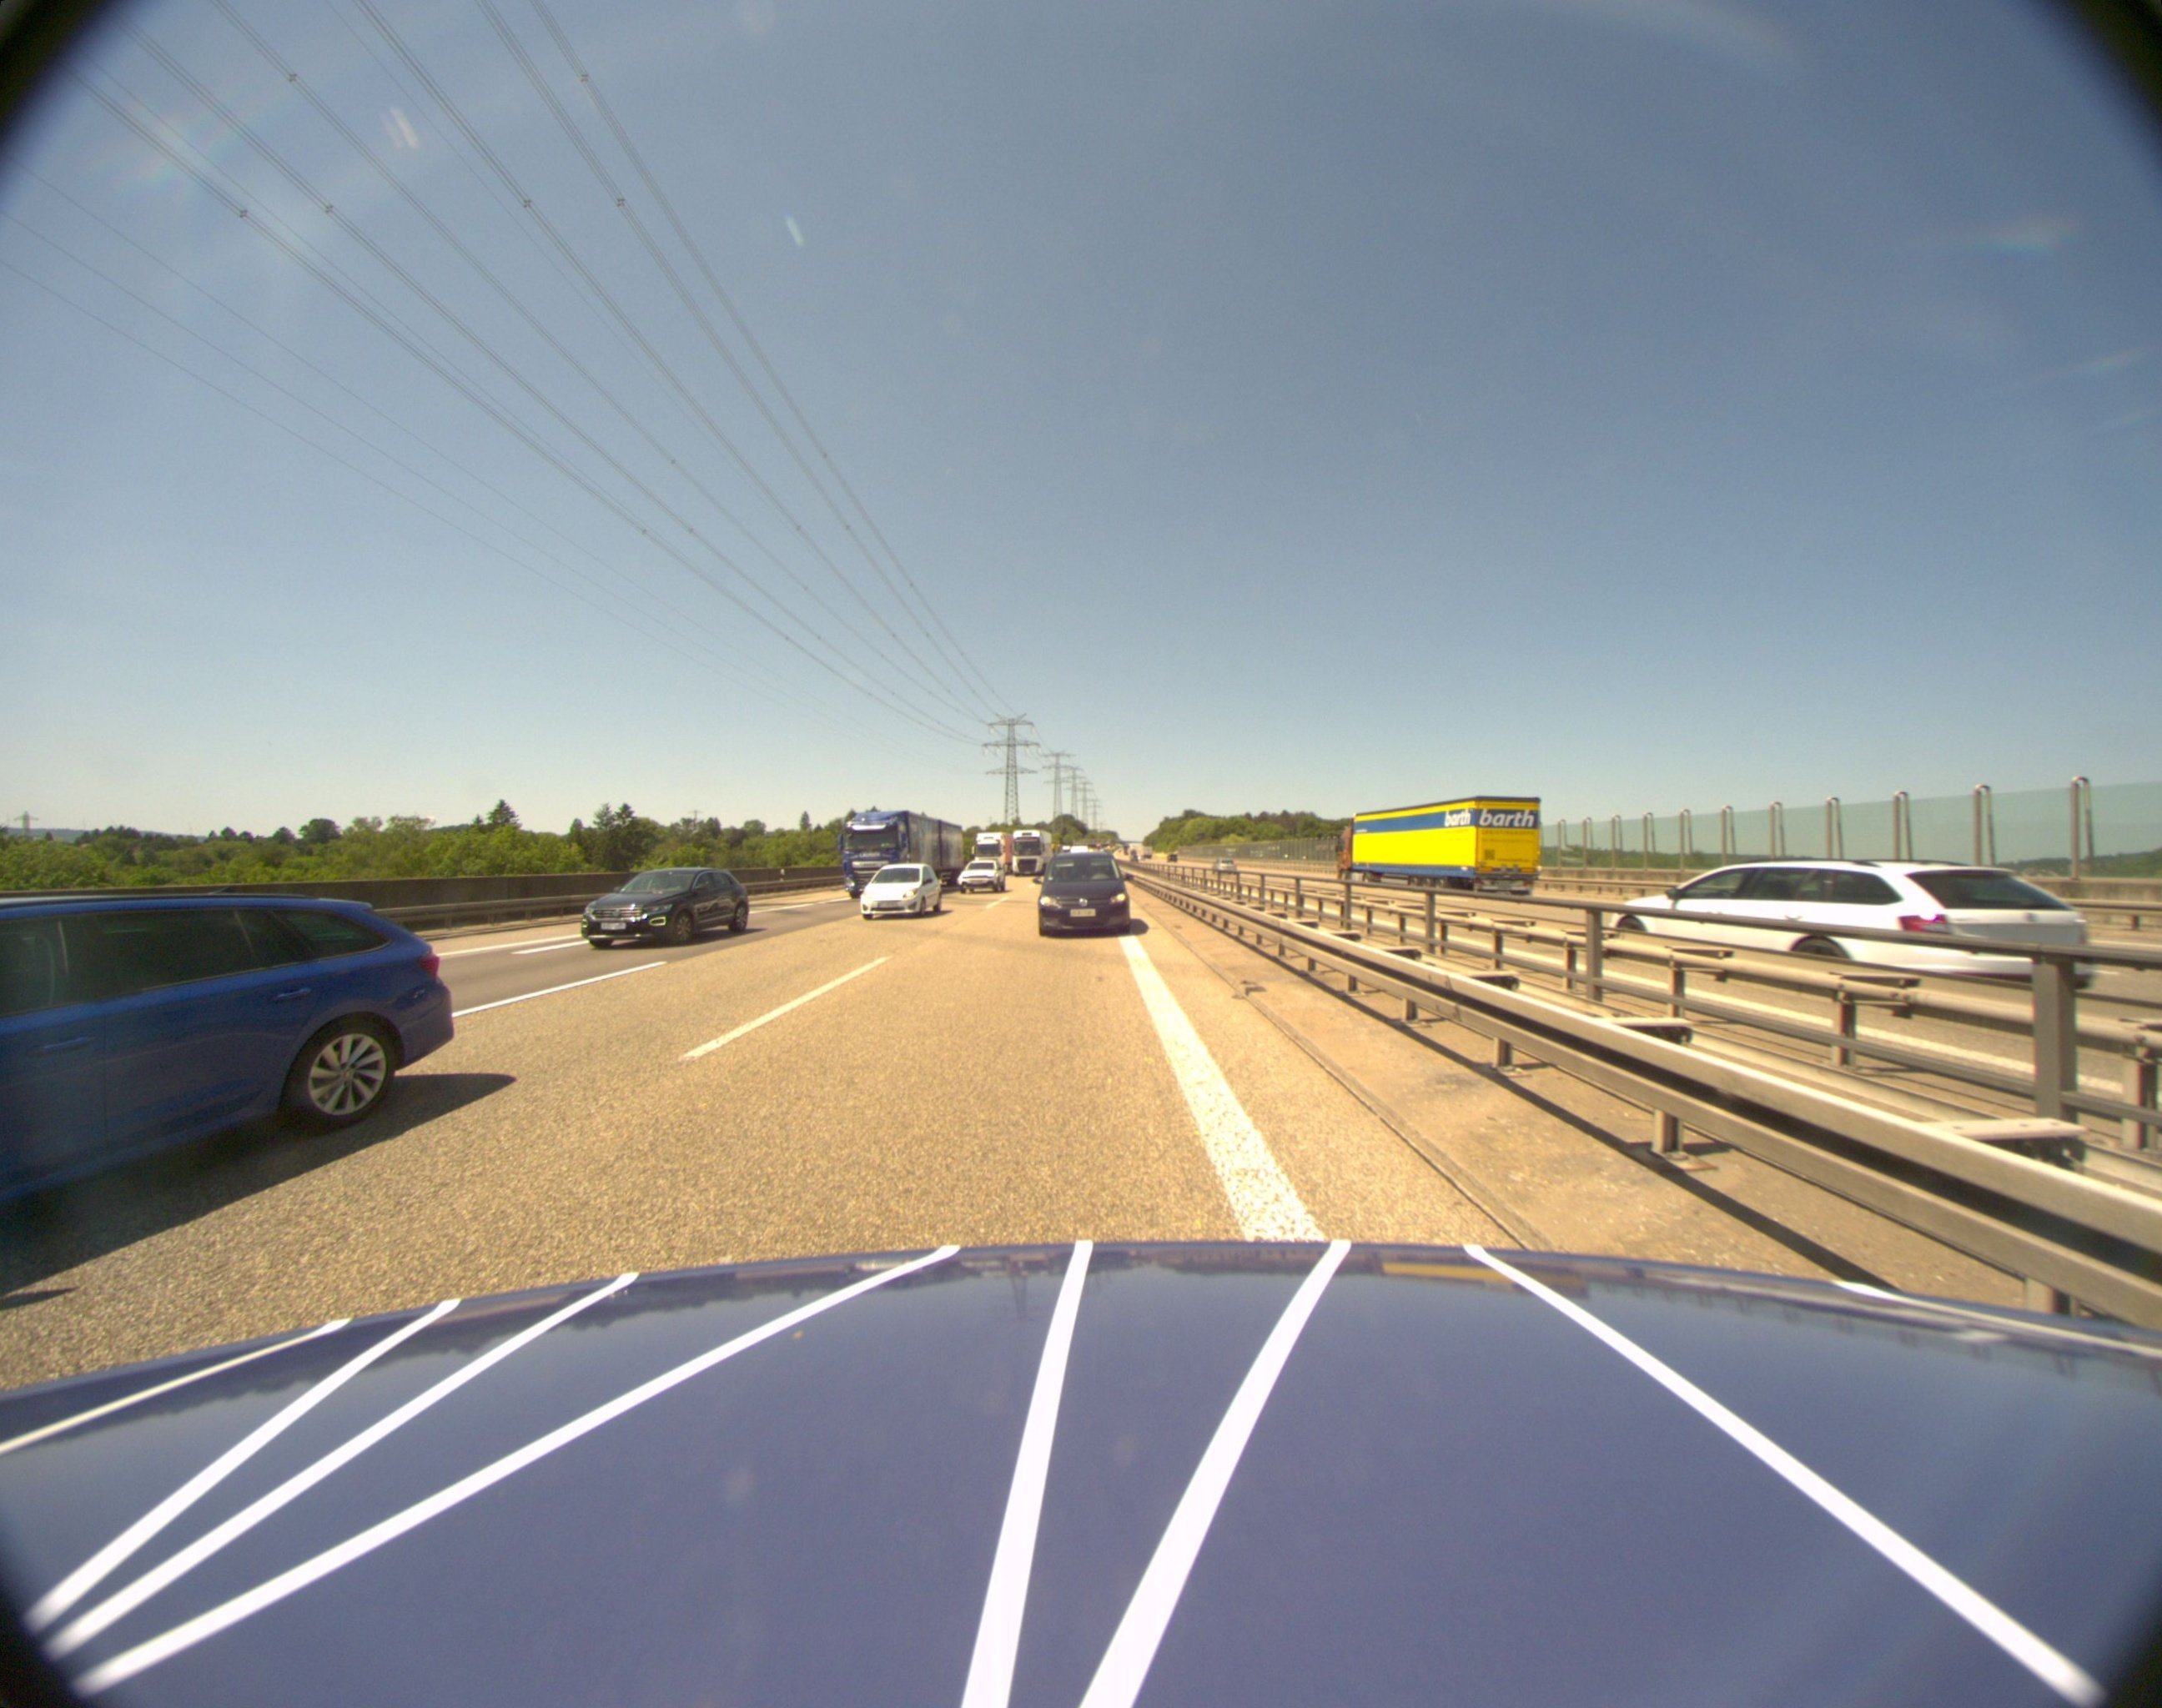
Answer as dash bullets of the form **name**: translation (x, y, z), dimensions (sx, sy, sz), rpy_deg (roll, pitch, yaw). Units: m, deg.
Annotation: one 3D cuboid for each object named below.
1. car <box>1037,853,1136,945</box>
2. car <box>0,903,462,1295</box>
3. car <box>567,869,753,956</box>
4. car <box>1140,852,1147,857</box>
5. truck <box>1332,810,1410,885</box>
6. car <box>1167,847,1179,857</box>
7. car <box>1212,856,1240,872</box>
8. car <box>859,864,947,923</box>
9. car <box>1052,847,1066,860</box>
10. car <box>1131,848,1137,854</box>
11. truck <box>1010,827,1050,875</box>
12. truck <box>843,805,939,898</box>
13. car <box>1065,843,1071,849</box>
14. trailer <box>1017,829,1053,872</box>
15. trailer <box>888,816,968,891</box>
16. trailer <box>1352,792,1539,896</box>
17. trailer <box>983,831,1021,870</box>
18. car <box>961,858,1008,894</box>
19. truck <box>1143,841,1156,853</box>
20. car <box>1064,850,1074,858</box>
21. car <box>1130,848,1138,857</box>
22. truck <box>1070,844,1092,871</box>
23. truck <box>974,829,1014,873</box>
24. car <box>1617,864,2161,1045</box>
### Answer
- **car**: translation (0.096, 0.816, 15.753), dimensions (1.739, 1.607, 3.911), rpy_deg (-2, 0, 0)
- **car**: translation (-5.253, 1.095, 3.101), dimensions (1.714, 1.432, 4.500), rpy_deg (-2, 0, 0)
- **car**: translation (-8.678, 1.127, 16.085), dimensions (1.709, 1.497, 3.888), rpy_deg (-2, 0, 0)
- **car**: translation (16.269, 0.125, 198.016), dimensions (1.473, 1.492, 3.200), rpy_deg (-1, 1, 1)
- **truck**: translation (16.674, -0.386, 44.093), dimensions (2.420, 4.035, 5.542), rpy_deg (0, 1, 1)
- **car**: translation (19.812, -0.414, 163.369), dimensions (2.021, 2.002, 3.968), rpy_deg (-2, 1, 1)
- **car**: translation (13.195, 0.933, 69.539), dimensions (1.767, 1.374, 4.078), rpy_deg (1, 0, 0)
- **car**: translation (-4.988, 1.052, 21.696), dimensions (1.583, 1.432, 3.629), rpy_deg (-2, 0, 0)
- **car**: translation (-3.539, -0.032, 122.712), dimensions (1.998, 2.002, 3.999), rpy_deg (-2, 1, 1)
- **car**: translation (17.079, -0.857, 244.611), dimensions (1.725, 1.849, 3.555), rpy_deg (-2, 1, 1)
- **truck**: translation (-4.407, -0.311, 66.994), dimensions (2.914, 3.869, 6.739), rpy_deg (-2, 1, 0)
- **truck**: translation (-8.994, -0.109, 36.936), dimensions (2.517, 3.944, 7.926), rpy_deg (-2, 0, 0)
- **car**: translation (-4.141, -2.555, 238.247), dimensions (1.701, 1.599, 3.639), rpy_deg (-2, 1, 1)
- **trailer**: translation (-4.432, -0.406, 75.243), dimensions (2.898, 3.847, 9.773), rpy_deg (-2, 1, 0)
- **trailer**: translation (-9.046, -0.086, 46.348), dimensions (2.543, 3.971, 10.883), rpy_deg (-2, 1, 0)
- **trailer**: translation (16.614, -0.392, 36.428), dimensions (2.429, 4.040, 13.801), rpy_deg (0, 0, 0)
- **trailer**: translation (-8.213, -0.403, 80.110), dimensions (2.904, 3.779, 8.687), rpy_deg (-2, 1, 0)
- **car**: translation (-4.549, 0.998, 36.265), dimensions (1.722, 1.526, 3.753), rpy_deg (-2, 0, 0)
- **truck**: translation (21.318, -2.098, 235.986), dimensions (3.289, 3.628, 6.975), rpy_deg (-2, 1, 1)
- **car**: translation (-2.466, -0.008, 156.761), dimensions (1.701, 1.599, 3.639), rpy_deg (-2, 1, 1)
- **car**: translation (10.995, -0.328, 157.540), dimensions (1.584, 2.002, 3.546), rpy_deg (0, 0, 1)
- **truck**: translation (0.067, 0.293, 80.324), dimensions (2.100, 2.700, 5.864), rpy_deg (-2, 1, 1)
- **truck**: translation (-8.222, -0.337, 72.394), dimensions (2.914, 3.869, 6.739), rpy_deg (-2, 1, 0)
- **car**: translation (8.453, 0.880, 8.572), dimensions (1.762, 1.440, 4.286), rpy_deg (1, 0, 0)
